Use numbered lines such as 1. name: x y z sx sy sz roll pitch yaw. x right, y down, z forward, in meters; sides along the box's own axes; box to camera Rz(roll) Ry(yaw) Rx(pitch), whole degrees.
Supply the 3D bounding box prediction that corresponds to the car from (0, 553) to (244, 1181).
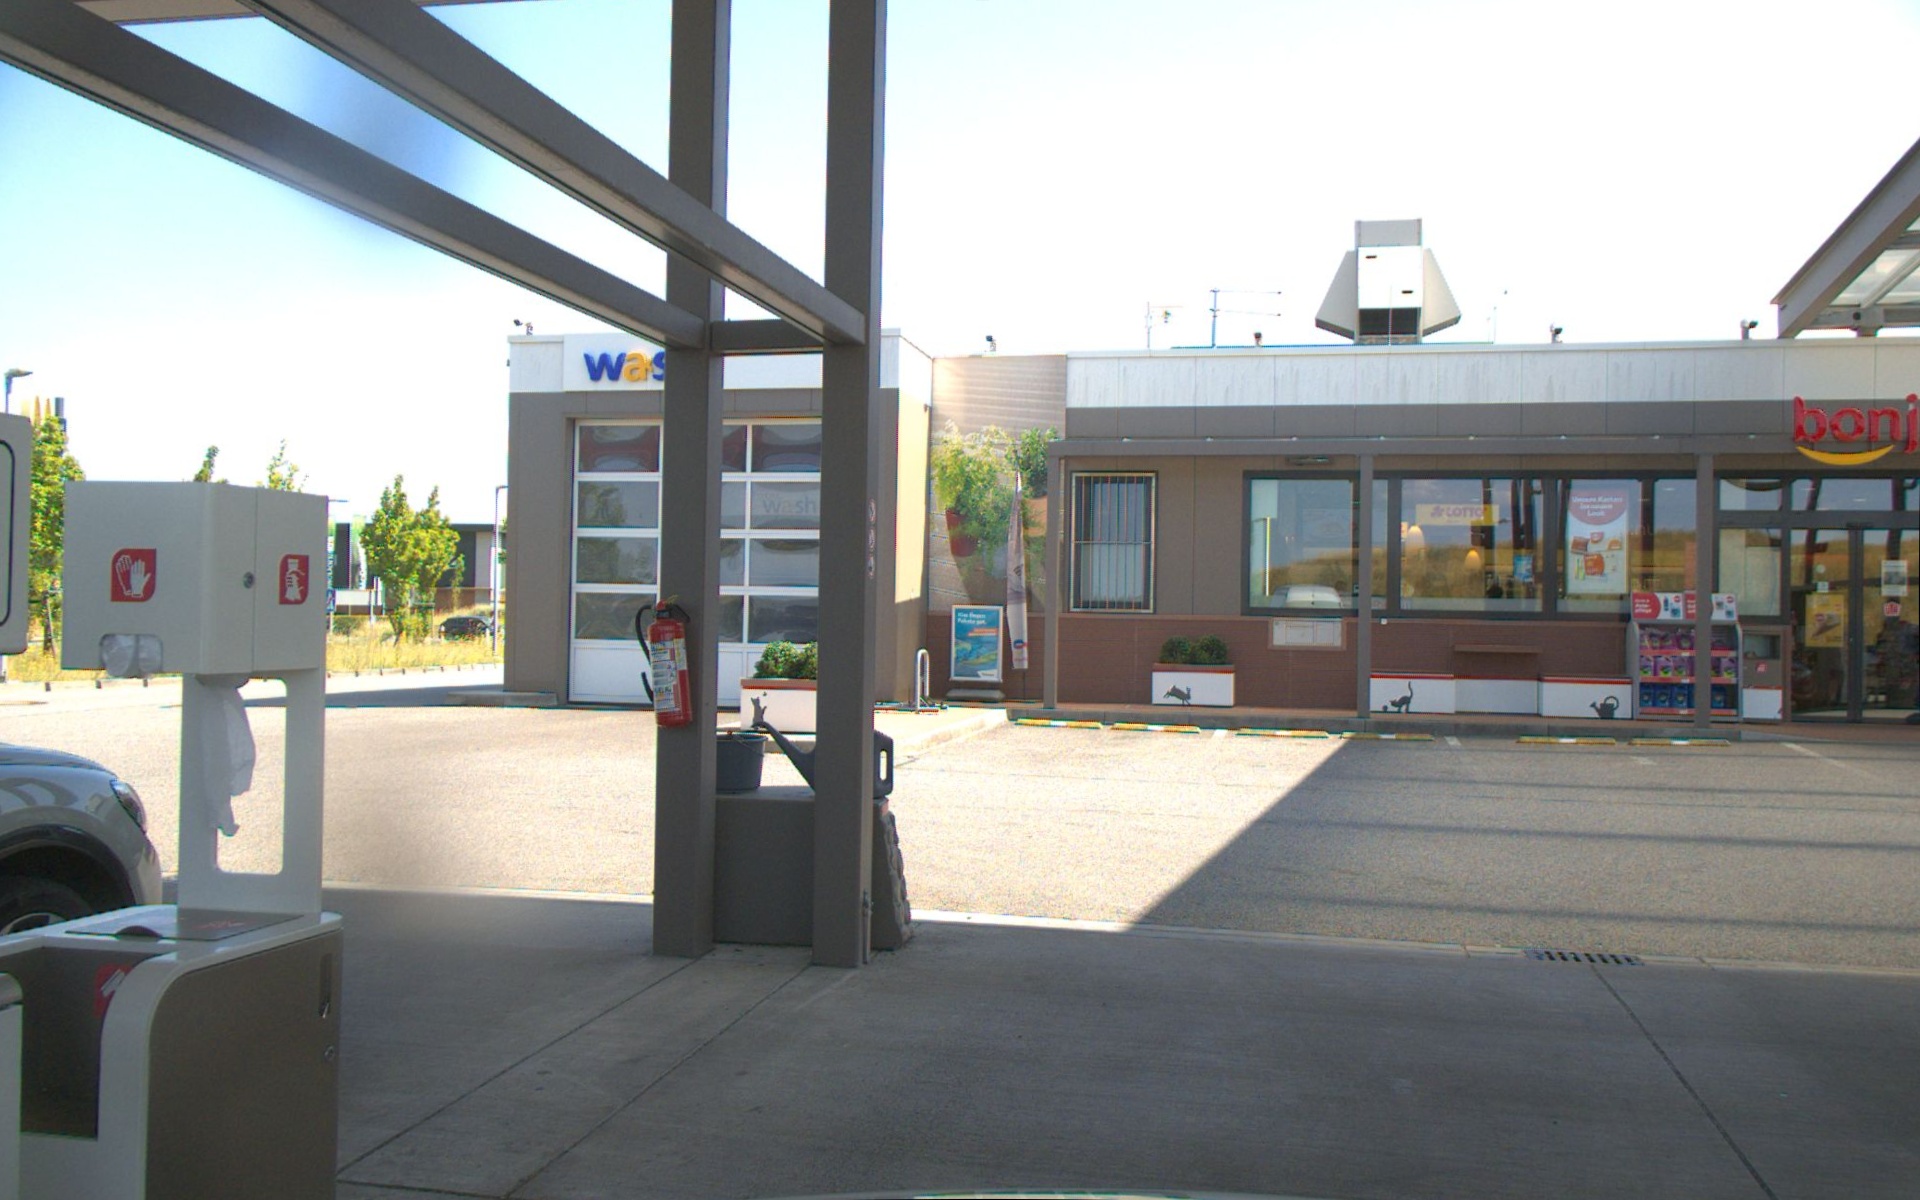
1. car: -3.506 0.653 3.117 1.742 1.568 4.329 1 0 12
